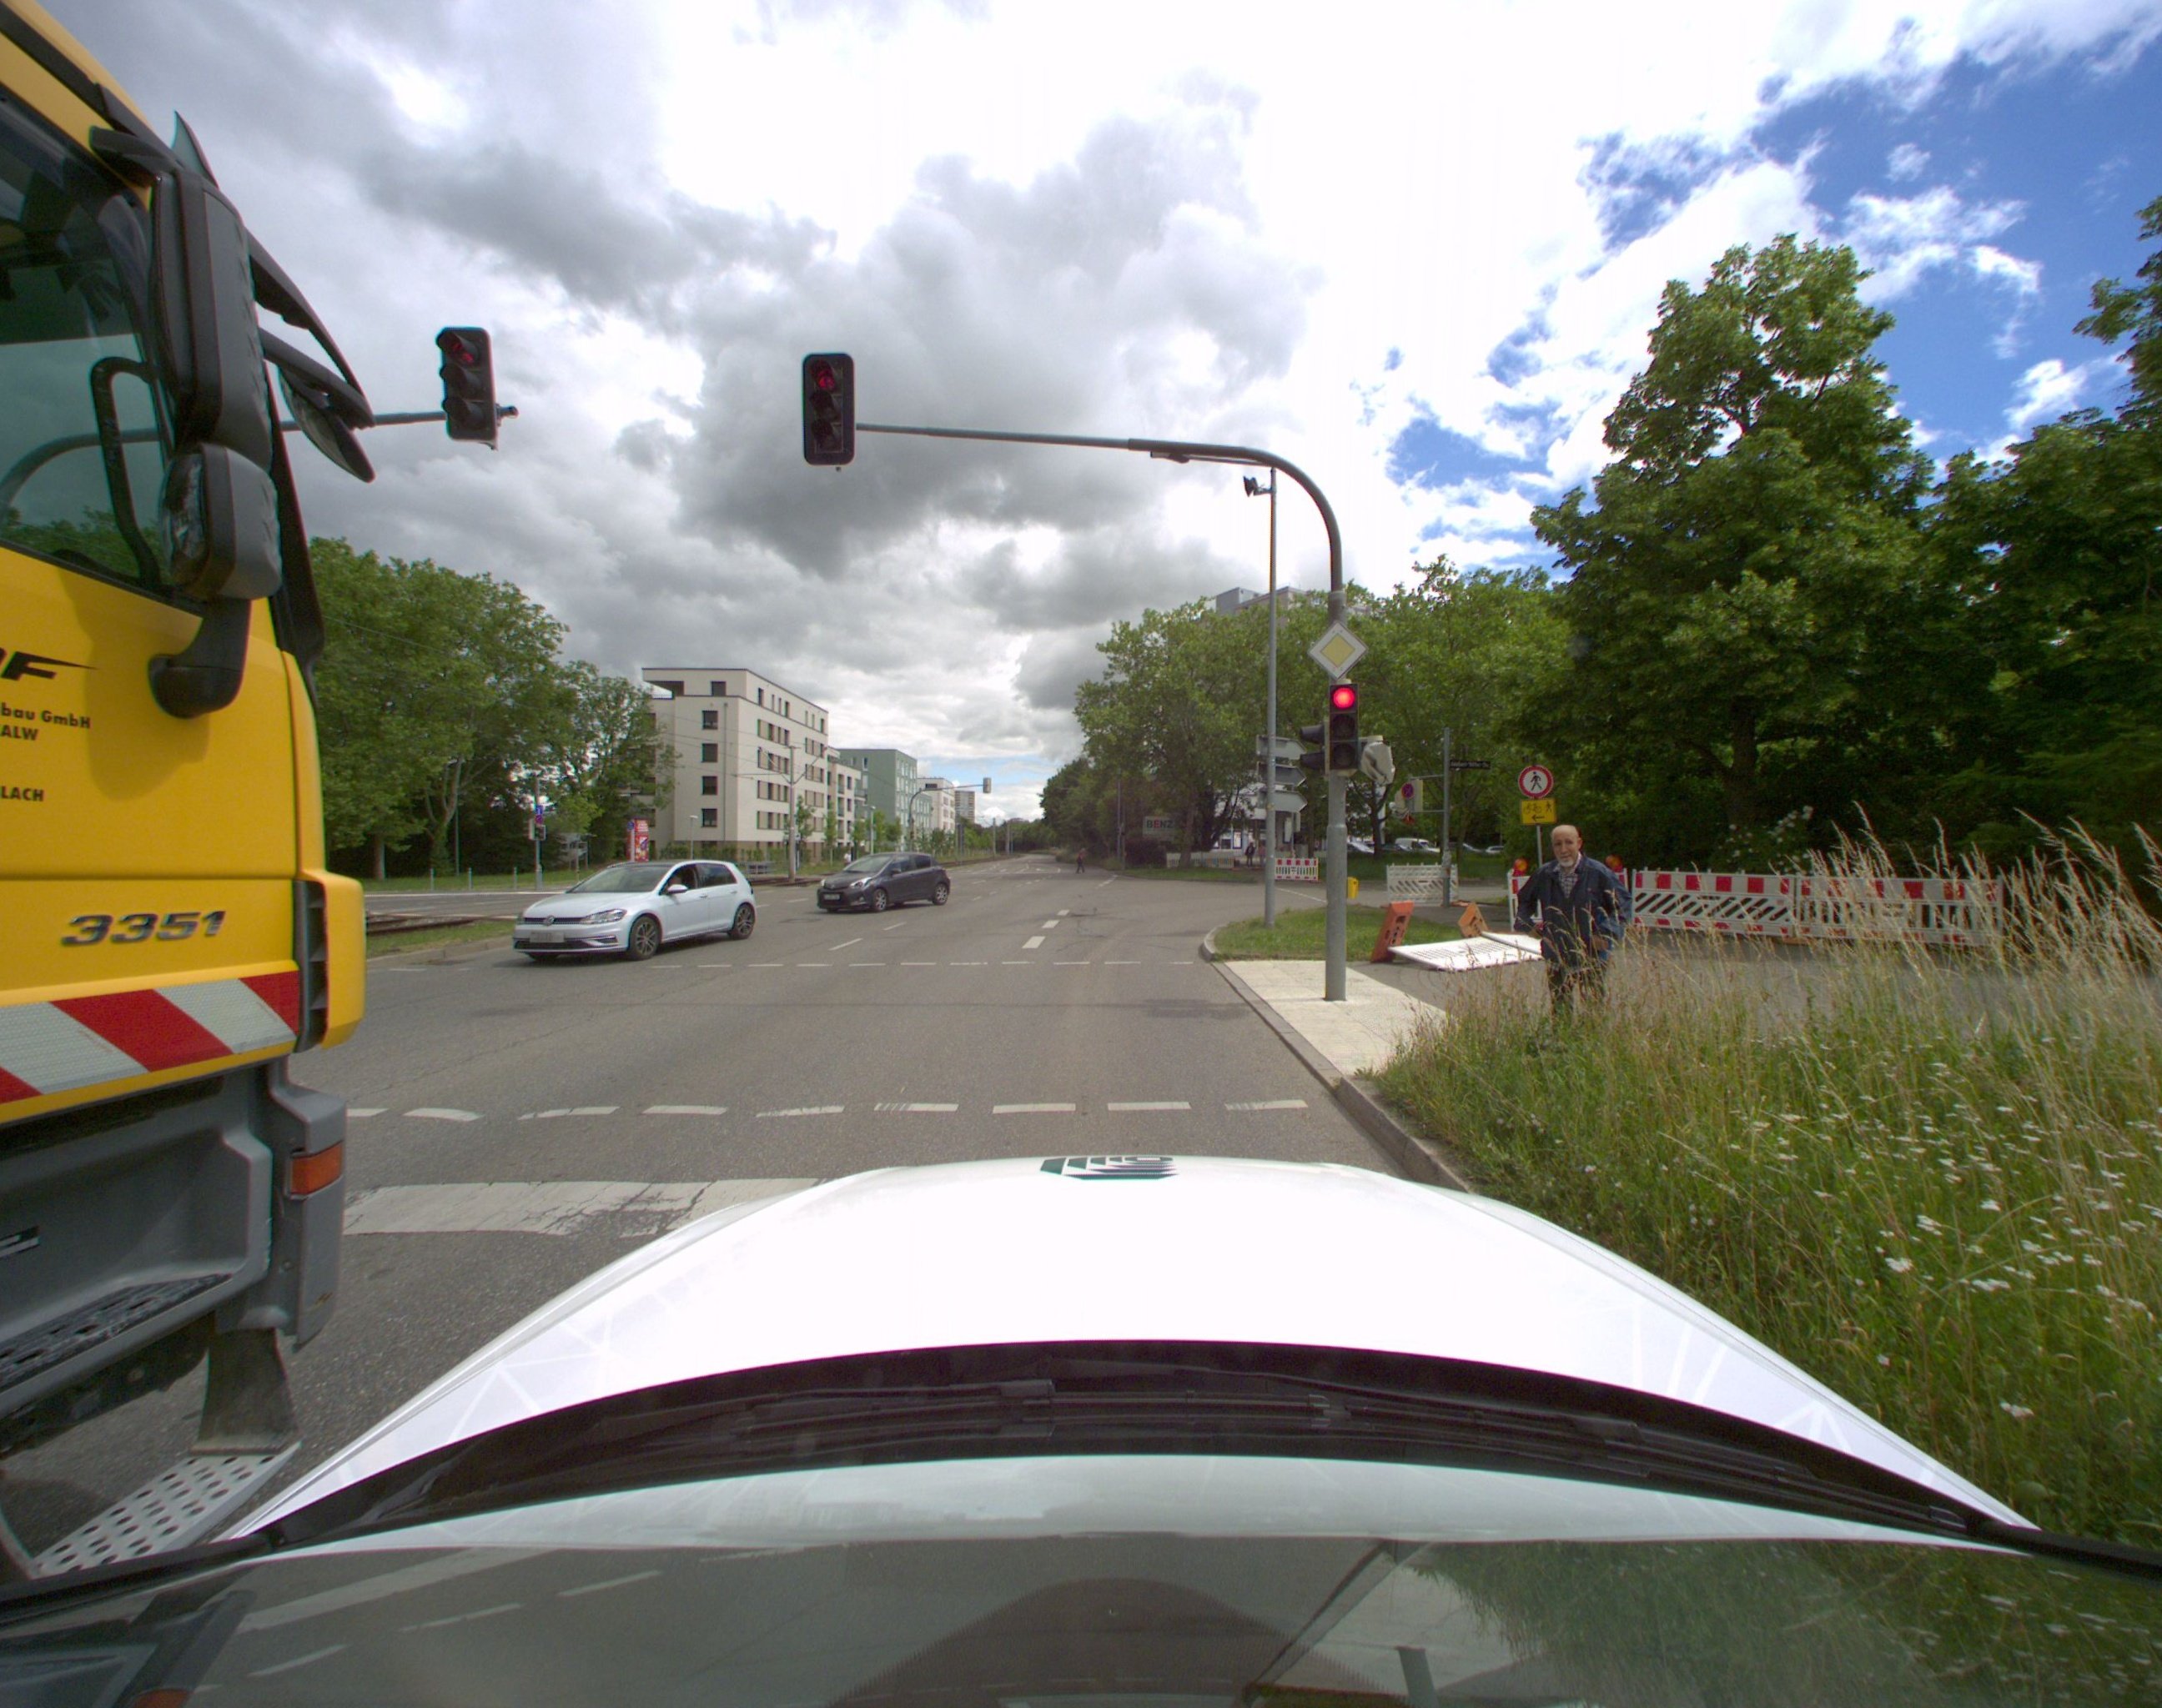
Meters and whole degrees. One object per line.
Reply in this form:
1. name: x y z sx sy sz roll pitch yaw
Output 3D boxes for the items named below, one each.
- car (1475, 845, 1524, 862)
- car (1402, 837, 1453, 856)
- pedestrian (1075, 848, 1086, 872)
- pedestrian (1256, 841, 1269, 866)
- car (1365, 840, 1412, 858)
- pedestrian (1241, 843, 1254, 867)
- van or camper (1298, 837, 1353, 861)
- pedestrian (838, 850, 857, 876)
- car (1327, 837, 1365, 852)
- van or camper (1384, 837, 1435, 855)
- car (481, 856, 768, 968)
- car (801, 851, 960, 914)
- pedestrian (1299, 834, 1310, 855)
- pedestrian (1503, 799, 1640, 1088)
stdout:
1. car: 38.112 -0.033 74.293 1.736 1.500 3.714 0 -1 -24
2. car: 29.021 -0.593 68.347 1.489 1.465 3.856 0 -1 -29
3. pedestrian: -0.018 0.381 52.051 0.650 1.539 0.773 0 -1 2
4. pedestrian: 10.984 -0.017 49.229 0.681 1.489 0.702 -1 -1 15
5. car: 24.319 -0.370 64.527 1.488 1.404 3.378 0 -1 -27
6. pedestrian: 10.140 0.058 49.518 0.713 1.489 0.702 -1 -1 13
7. van or camper: 18.479 -0.377 61.730 1.849 1.684 3.967 -1 0 -25
8. pedestrian: -14.207 0.548 49.557 0.786 1.586 0.856 -1 -1 27
9. car: 25.314 -0.890 77.809 1.489 1.404 3.377 0 -1 -29
10. van or camper: 26.977 -0.639 67.058 1.523 1.356 3.738 0 -1 -31
11. car: -6.970 0.781 13.072 1.752 1.441 4.288 -1 0 8
12. car: -5.174 0.671 21.520 1.760 1.469 4.069 0 0 29
13. pedestrian: 21.345 -0.887 77.788 0.802 2.002 0.852 0 -1 -3
14. pedestrian: 3.294 0.535 5.493 0.719 1.740 0.962 -1 0 31
